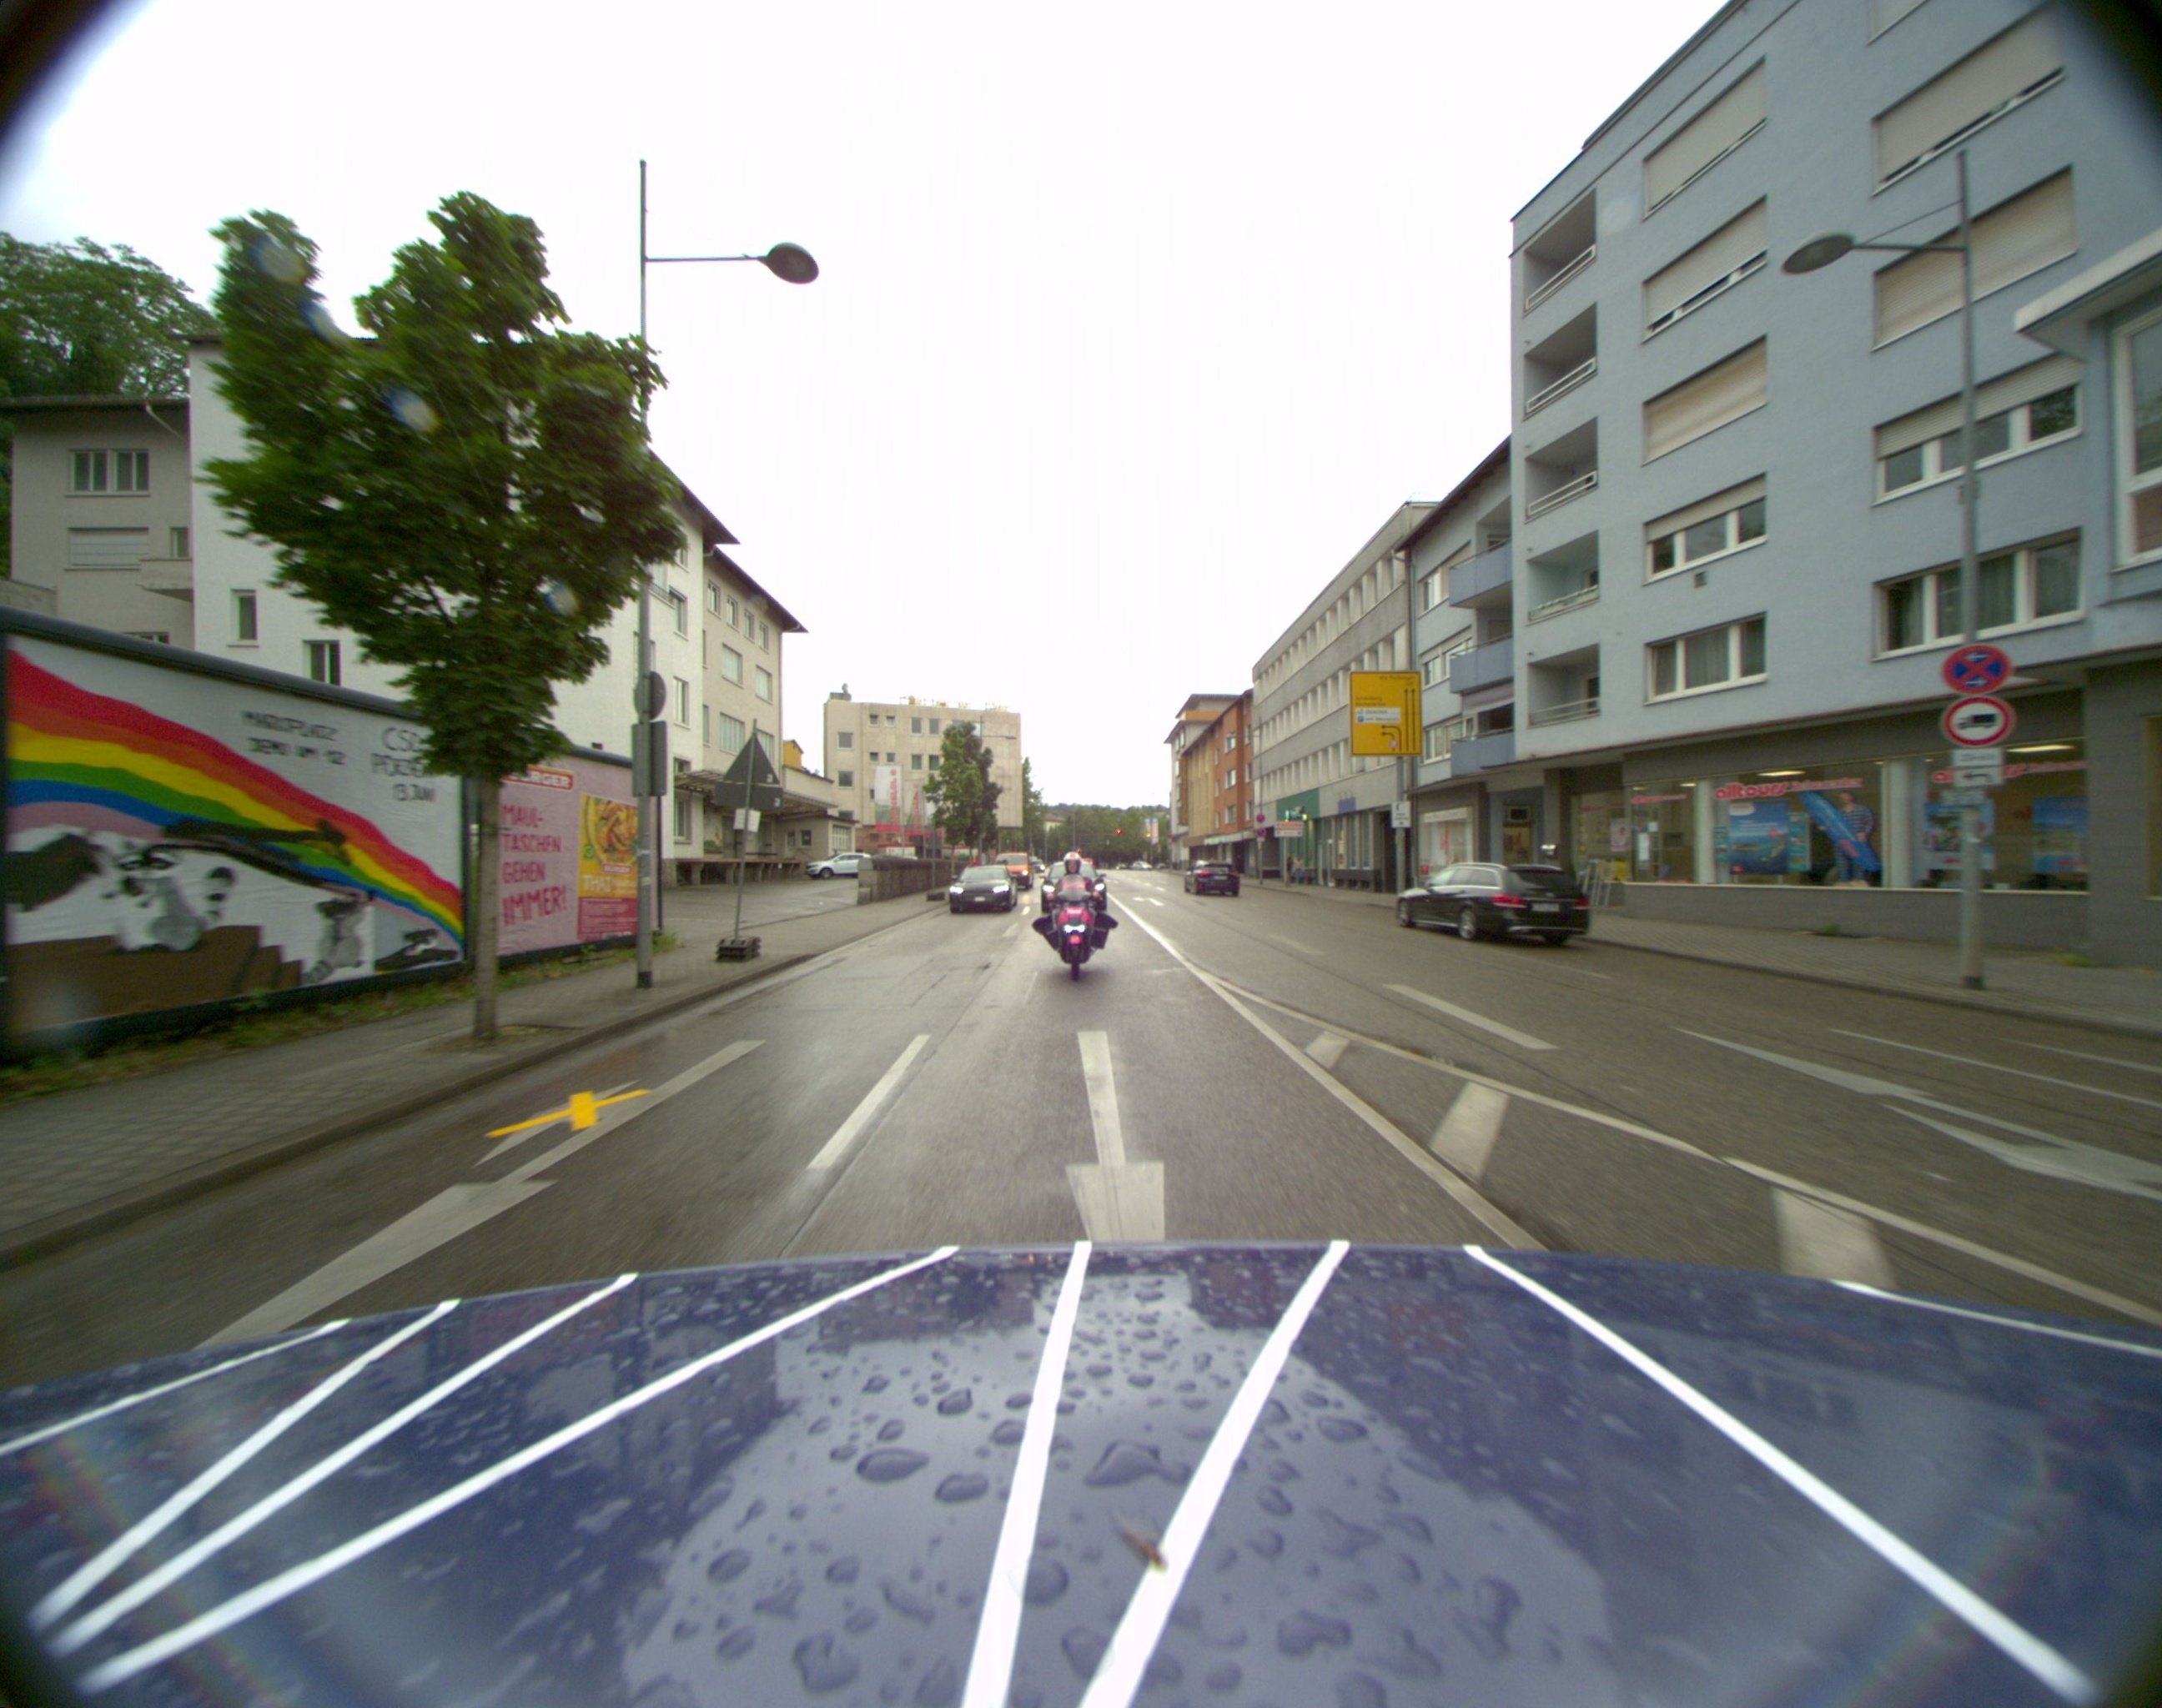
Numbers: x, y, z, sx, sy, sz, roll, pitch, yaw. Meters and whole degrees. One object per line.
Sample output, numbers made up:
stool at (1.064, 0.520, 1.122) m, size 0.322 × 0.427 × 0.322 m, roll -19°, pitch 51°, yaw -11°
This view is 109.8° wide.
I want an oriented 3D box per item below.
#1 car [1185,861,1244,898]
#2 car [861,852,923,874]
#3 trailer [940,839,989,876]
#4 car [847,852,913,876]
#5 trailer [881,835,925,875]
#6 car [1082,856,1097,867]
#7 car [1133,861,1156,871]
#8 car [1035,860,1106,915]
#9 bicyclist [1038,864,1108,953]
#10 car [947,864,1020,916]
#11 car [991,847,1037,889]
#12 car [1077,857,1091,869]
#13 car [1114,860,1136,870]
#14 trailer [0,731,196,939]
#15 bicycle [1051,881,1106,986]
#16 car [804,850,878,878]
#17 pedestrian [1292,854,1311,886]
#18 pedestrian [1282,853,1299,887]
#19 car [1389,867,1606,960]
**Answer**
car at (5.606, 1.042, 32.450) m, size 1.725 × 1.415 × 4.165 m, roll 2°, pitch 0°, yaw 0°
car at (-14.690, 0.716, 59.014) m, size 4.284 × 1.639 × 1.863 m, roll 2°, pitch -2°, yaw -32°
trailer at (-10.428, 0.279, 67.702) m, size 2.640 × 3.158 × 5.703 m, roll 1°, pitch 0°, yaw -27°
car at (-13.862, 0.737, 52.497) m, size 4.008 × 1.573 × 1.767 m, roll 2°, pitch -2°, yaw -36°
trailer at (-15.447, 0.091, 65.629) m, size 2.753 × 3.288 × 6.060 m, roll 0°, pitch 0°, yaw -23°
car at (1.304, 1.207, 114.967) m, size 1.759 × 1.604 × 4.215 m, roll 1°, pitch -1°, yaw 8°
car at (10.838, 2.042, 129.851) m, size 1.901 × 1.566 × 4.350 m, roll 2°, pitch -1°, yaw -30°
car at (-0.227, 0.980, 24.071) m, size 1.896 × 1.396 × 4.361 m, roll -4°, pitch 1°, yaw 3°
bicyclist at (-0.103, 0.767, 10.921) m, size 0.963 × 1.219 × 0.715 m, roll 0°, pitch 0°, yaw 1°
car at (-3.035, 1.083, 24.470) m, size 1.794 × 1.394 × 4.633 m, roll -2°, pitch 0°, yaw -1°
car at (-3.510, 0.700, 41.027) m, size 2.107 × 2.077 × 5.540 m, roll -1°, pitch 0°, yaw -2°
car at (0.352, 1.076, 95.056) m, size 1.737 × 1.431 × 4.413 m, roll 1°, pitch 0°, yaw -1°
car at (10.494, 2.643, 182.704) m, size 4.839 × 1.930 × 1.954 m, roll -4°, pitch -2°, yaw 29°
trailer at (-15.108, -0.288, 9.268) m, size 2.132 × 2.700 × 5.392 m, roll 2°, pitch -1°, yaw 2°
bicycle at (-0.016, 1.087, 11.237) m, size 0.717 × 1.298 × 2.427 m, roll 0°, pitch 0°, yaw 1°
car at (-15.103, 0.676, 47.899) m, size 3.990 × 1.557 × 1.923 m, roll 2°, pitch -5°, yaw -41°
pedestrian at (12.129, 0.880, 41.741) m, size 0.631 × 1.665 × 0.908 m, roll -4°, pitch 1°, yaw -1°
pedestrian at (11.496, 0.864, 41.707) m, size 0.576 × 1.778 × 0.826 m, roll -4°, pitch 1°, yaw 0°
car at (8.137, 1.066, 15.464) m, size 1.712 × 1.459 × 4.829 m, roll 2°, pitch 0°, yaw 0°
